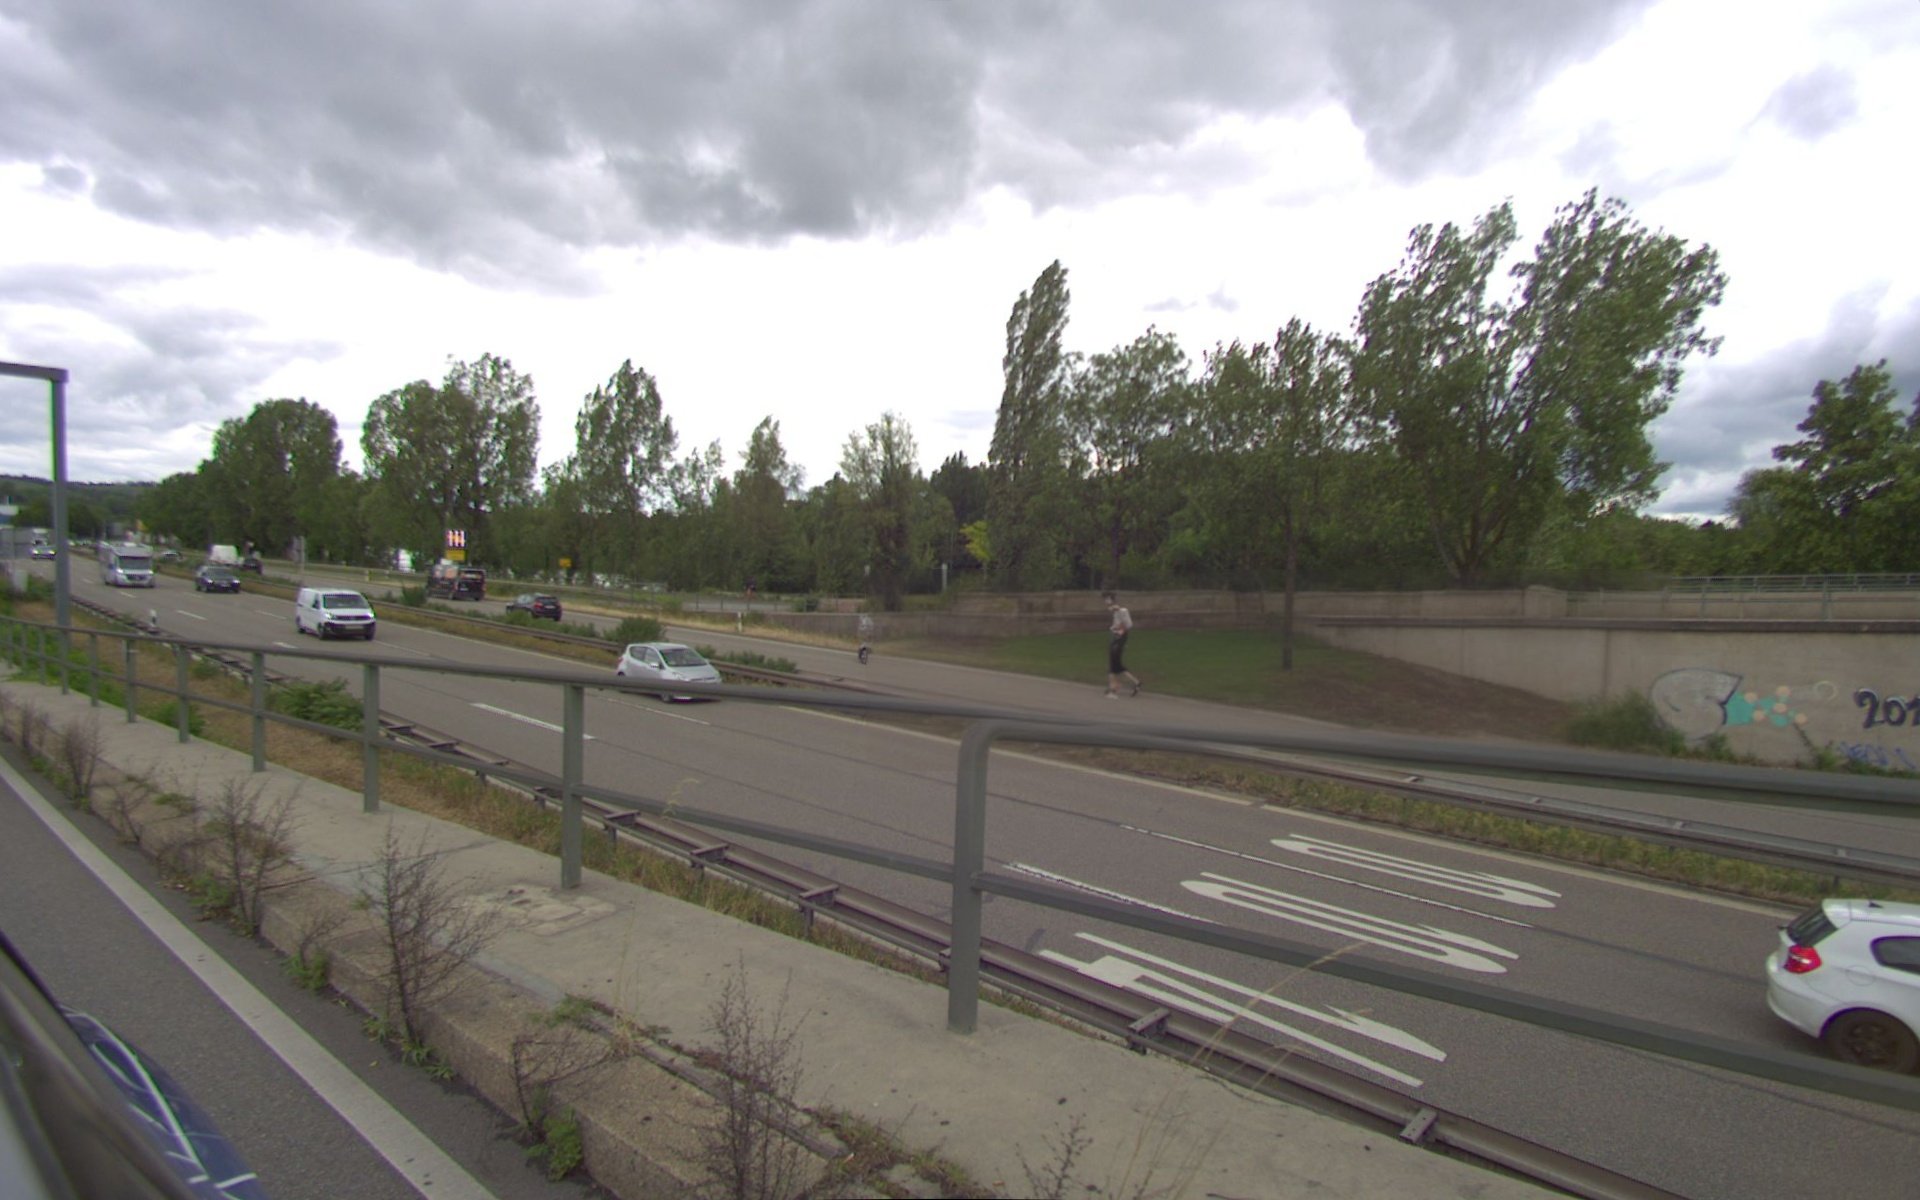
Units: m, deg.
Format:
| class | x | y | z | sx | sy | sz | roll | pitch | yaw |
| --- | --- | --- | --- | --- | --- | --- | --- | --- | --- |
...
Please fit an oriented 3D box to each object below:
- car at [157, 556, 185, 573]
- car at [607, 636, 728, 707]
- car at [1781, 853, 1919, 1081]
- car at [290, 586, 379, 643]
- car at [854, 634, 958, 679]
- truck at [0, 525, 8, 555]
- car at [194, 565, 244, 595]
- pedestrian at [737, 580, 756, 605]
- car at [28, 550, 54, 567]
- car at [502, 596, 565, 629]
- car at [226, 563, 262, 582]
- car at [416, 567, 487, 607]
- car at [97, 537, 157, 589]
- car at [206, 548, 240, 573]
| class | x | y | z | sx | sy | sz | roll | pitch | yaw |
| --- | --- | --- | --- | --- | --- | --- | --- | --- | --- |
| car | -85.764 | -3.863 | 109.980 | 3.931 | 1.662 | 1.739 | 5 | 3 | 41 |
| car | -8.386 | 1.968 | 28.895 | 3.681 | 1.564 | 1.540 | 4 | 3 | 41 |
| car | 9.759 | 3.492 | 8.650 | 4.164 | 1.462 | 1.724 | 4 | 2 | 41 |
| car | -25.594 | 0.530 | 41.332 | 4.899 | 1.949 | 1.928 | 5 | 4 | 44 |
| car | -2.189 | 2.200 | 40.361 | 4.109 | 1.386 | 1.693 | 4 | 2 | 41 |
| truck | -139.734 | -8.730 | 146.039 | 6.695 | 4.283 | 2.723 | 4 | 2 | 41 |
| car | -49.082 | -1.322 | 66.991 | 4.279 | 1.726 | 1.821 | 4 | 2 | 41 |
| pedestrian | -15.609 | -0.541 | 73.889 | 1.077 | 1.717 | 0.821 | 4 | 4 | 41 |
| car | -108.660 | -4.899 | 119.610 | 4.278 | 1.813 | 1.821 | 0 | 0 | 41 |
| car | -23.326 | 0.663 | 55.273 | 3.857 | 1.512 | 1.646 | 4 | 2 | 41 |
| car | -70.444 | -2.679 | 99.553 | 4.332 | 1.662 | 1.878 | 4 | 2 | 41 |
| car | -36.004 | -0.966 | 71.560 | 6.111 | 2.565 | 2.221 | 4 | 2 | 40 |
| car | -56.762 | -2.568 | 68.899 | 7.664 | 3.264 | 2.335 | 5 | 3 | 44 |
| car | -89.872 | -4.796 | 123.449 | 5.360 | 2.800 | 2.187 | 5 | 2 | 41 |
